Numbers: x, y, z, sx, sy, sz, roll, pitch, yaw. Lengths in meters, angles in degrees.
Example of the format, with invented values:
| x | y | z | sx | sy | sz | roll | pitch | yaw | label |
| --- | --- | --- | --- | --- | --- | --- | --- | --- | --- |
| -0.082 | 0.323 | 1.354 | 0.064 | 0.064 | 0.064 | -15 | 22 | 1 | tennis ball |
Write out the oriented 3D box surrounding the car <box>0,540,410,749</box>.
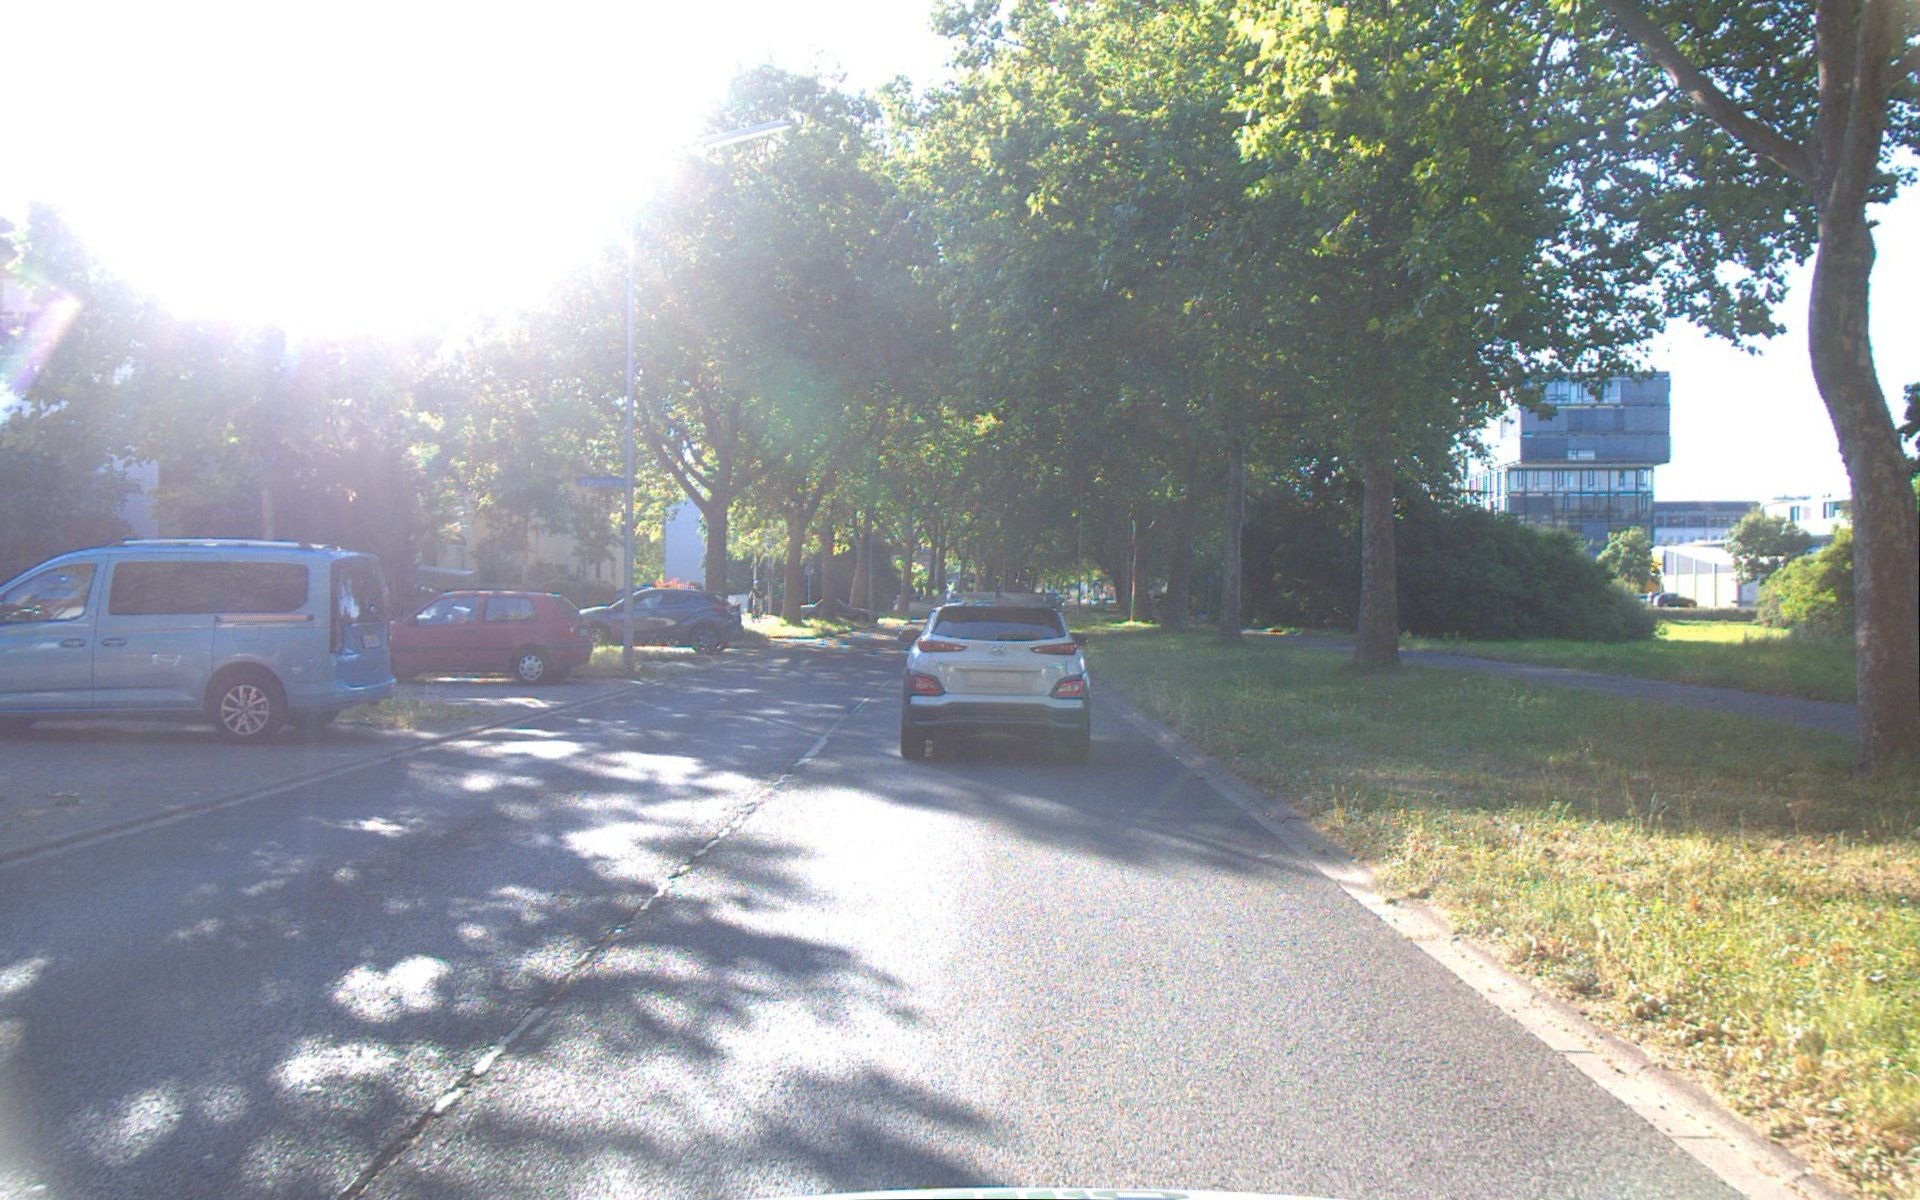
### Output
| x | y | z | sx | sy | sz | roll | pitch | yaw | label |
| --- | --- | --- | --- | --- | --- | --- | --- | --- | --- |
| -7.817 | 0.392 | 16.028 | 4.297 | 1.856 | 1.995 | 1 | 0 | -3 | car |

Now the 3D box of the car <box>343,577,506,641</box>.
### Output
| x | y | z | sx | sy | sz | roll | pitch | yaw | label |
| --- | --- | --- | --- | --- | --- | --- | --- | --- | --- |
| -15.372 | 0.255 | 47.642 | 3.905 | 1.502 | 2.001 | 4 | 0 | 2 | car |

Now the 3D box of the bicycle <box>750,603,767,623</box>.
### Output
| x | y | z | sx | sy | sz | roll | pitch | yaw | label |
| --- | --- | --- | --- | --- | --- | --- | --- | --- | --- |
| -9.405 | 0.586 | 77.160 | 0.460 | 0.896 | 2.156 | 0 | 0 | 2 | bicycle |

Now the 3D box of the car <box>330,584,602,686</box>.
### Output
| x | y | z | sx | sy | sz | roll | pitch | yaw | label |
| --- | --- | --- | --- | --- | --- | --- | --- | --- | --- |
| -7.721 | 0.523 | 26.104 | 3.793 | 1.545 | 1.664 | 0 | 0 | -3 | car |

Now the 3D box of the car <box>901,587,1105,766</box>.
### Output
| x | y | z | sx | sy | sz | roll | pitch | yaw | label |
| --- | --- | --- | --- | --- | --- | --- | --- | --- | --- |
| 0.321 | 0.700 | 16.915 | 1.799 | 1.583 | 3.998 | 1 | 0 | -2 | car |

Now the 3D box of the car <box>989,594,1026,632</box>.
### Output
| x | y | z | sx | sy | sz | roll | pitch | yaw | label |
| --- | --- | --- | --- | --- | --- | --- | --- | --- | --- |
| 2.220 | 0.579 | 77.842 | 1.642 | 1.725 | 3.745 | 1 | 0 | 1 | car |

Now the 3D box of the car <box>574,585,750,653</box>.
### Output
| x | y | z | sx | sy | sz | roll | pitch | yaw | label |
| --- | --- | --- | --- | --- | --- | --- | --- | --- | --- |
| -7.143 | 0.452 | 39.948 | 3.907 | 1.545 | 1.817 | 1 | 0 | -1 | car |

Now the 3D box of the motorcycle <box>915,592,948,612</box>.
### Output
| x | y | z | sx | sy | sz | roll | pitch | yaw | label |
| --- | --- | --- | --- | --- | --- | --- | --- | --- | --- |
| -2.061 | 0.171 | 118.336 | 2.336 | 1.412 | 0.648 | 1 | 0 | 0 | motorcycle |

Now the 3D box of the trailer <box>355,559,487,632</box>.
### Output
| x | y | z | sx | sy | sz | roll | pitch | yaw | label |
| --- | --- | --- | --- | --- | --- | --- | --- | --- | --- |
| -16.485 | -0.161 | 50.711 | 3.383 | 1.959 | 1.643 | 4 | 1 | 1 | trailer |

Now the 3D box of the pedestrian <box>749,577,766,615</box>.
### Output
| x | y | z | sx | sy | sz | roll | pitch | yaw | label |
| --- | --- | --- | --- | --- | --- | --- | --- | --- | --- |
| -9.454 | -0.193 | 77.191 | 0.604 | 1.746 | 1.065 | 0 | 0 | 2 | pedestrian |

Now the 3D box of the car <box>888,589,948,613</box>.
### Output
| x | y | z | sx | sy | sz | roll | pitch | yaw | label |
| --- | --- | --- | --- | --- | --- | --- | --- | --- | --- |
| -2.892 | 0.052 | 115.851 | 4.097 | 1.612 | 2.000 | 1 | 0 | 0 | car |

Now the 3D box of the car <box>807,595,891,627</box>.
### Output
| x | y | z | sx | sy | sz | roll | pitch | yaw | label |
| --- | --- | --- | --- | --- | --- | --- | --- | --- | --- |
| -5.264 | 0.513 | 78.539 | 3.746 | 1.339 | 1.790 | 2 | 0 | 2 | car |
